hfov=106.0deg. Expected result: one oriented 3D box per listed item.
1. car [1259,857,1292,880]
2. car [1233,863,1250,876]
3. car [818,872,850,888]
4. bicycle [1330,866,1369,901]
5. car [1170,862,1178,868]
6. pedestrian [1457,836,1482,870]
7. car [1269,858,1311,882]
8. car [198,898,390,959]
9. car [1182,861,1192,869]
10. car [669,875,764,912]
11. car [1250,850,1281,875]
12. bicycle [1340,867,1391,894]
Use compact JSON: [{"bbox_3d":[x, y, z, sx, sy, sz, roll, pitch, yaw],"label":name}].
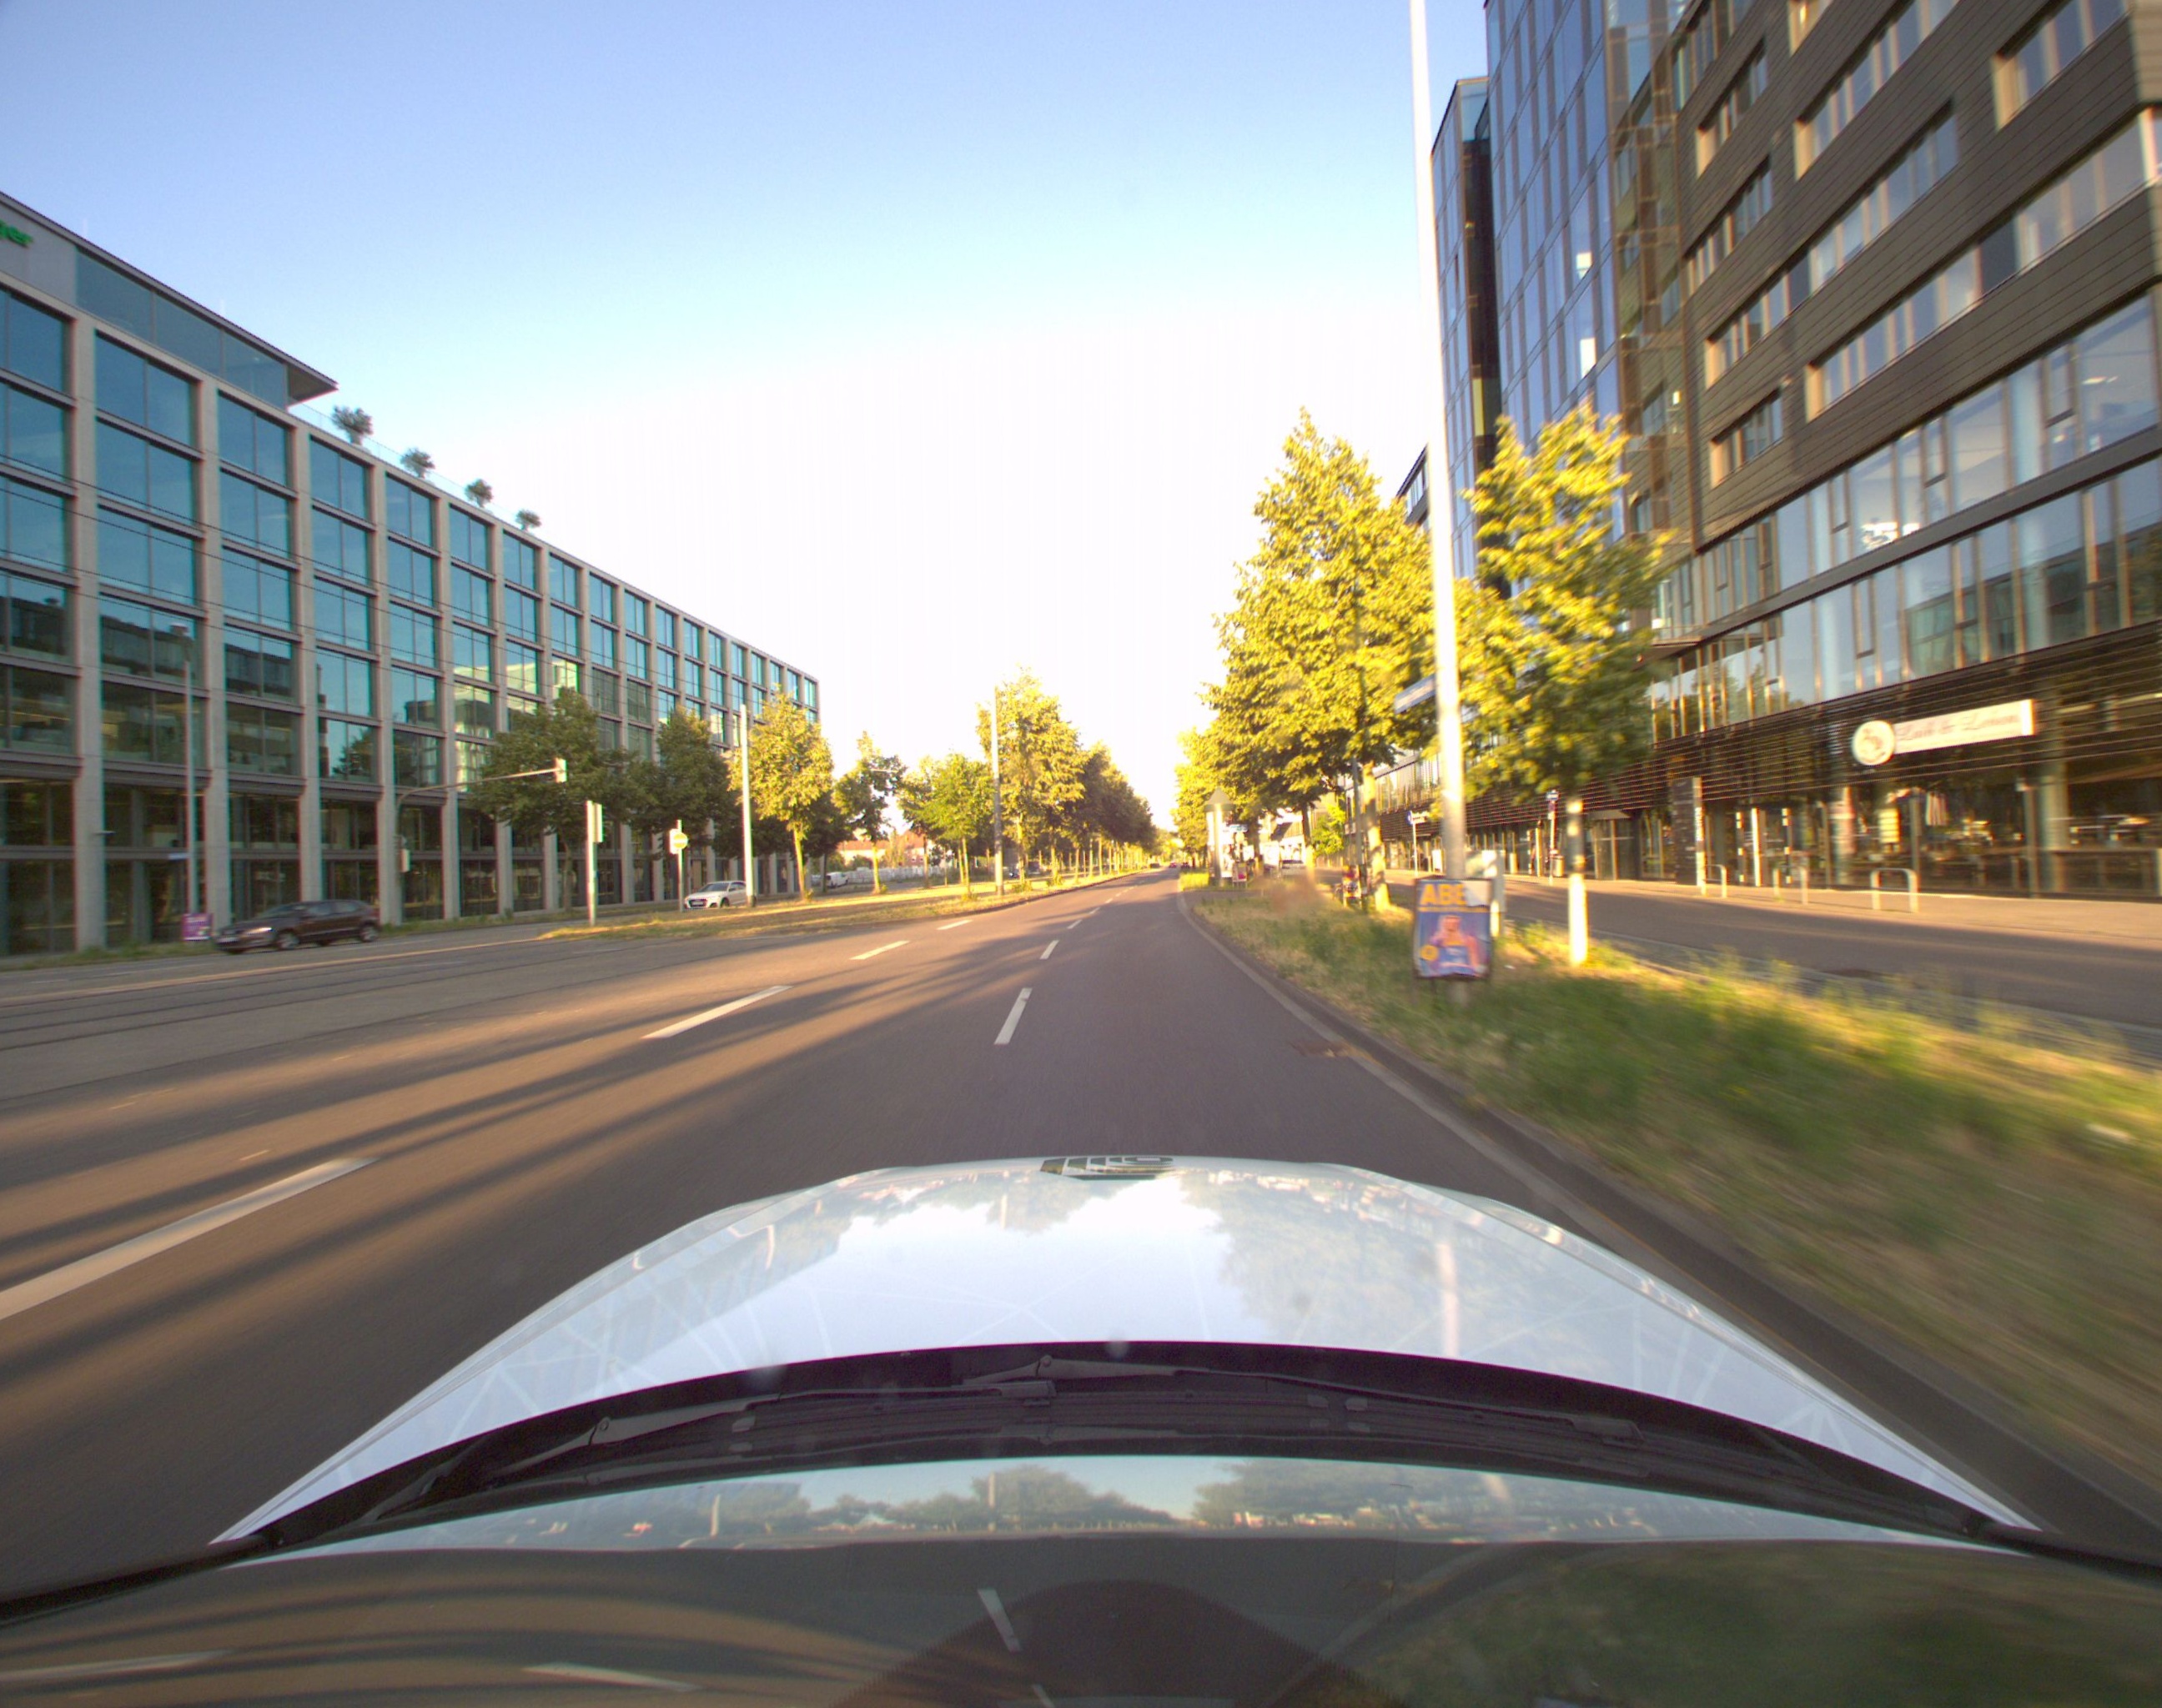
[{"bbox_3d":[14.288,1.044,59.931,1.849,1.496,4.299,-2,0,7],"label":"car"},{"bbox_3d":[18.871,1.809,95.858,1.771,1.494,4.008,1,-1,7],"label":"car"},{"bbox_3d":[-33.320,3.501,110.082,2.194,2.014,5.094,-3,-1,7],"label":"car"},{"bbox_3d":[8.120,0.874,24.688,0.577,0.995,1.686,-2,-1,-1],"label":"bicycle"},{"bbox_3d":[24.105,2.929,210.926,1.902,1.486,4.007,-2,-1,6],"label":"car"},{"bbox_3d":[21.094,-0.054,44.229,0.892,1.797,0.914,-2,-1,5],"label":"pedestrian"},{"bbox_3d":[13.773,1.049,53.890,1.908,1.496,5.048,-1,-1,5],"label":"car"},{"bbox_3d":[-23.483,2.165,24.535,1.633,1.449,4.005,-2,-1,5],"label":"car"},{"bbox_3d":[21.374,2.293,164.726,1.902,1.486,4.007,-2,-1,6],"label":"car"},{"bbox_3d":[-16.683,1.763,37.540,1.893,1.485,4.637,-3,-1,5],"label":"car"},{"bbox_3d":[15.195,0.725,67.323,1.976,1.989,4.940,-1,-1,6],"label":"car"},{"bbox_3d":[10.242,0.967,29.361,1.701,0.910,0.364,-3,-1,40],"label":"bicycle"}]
